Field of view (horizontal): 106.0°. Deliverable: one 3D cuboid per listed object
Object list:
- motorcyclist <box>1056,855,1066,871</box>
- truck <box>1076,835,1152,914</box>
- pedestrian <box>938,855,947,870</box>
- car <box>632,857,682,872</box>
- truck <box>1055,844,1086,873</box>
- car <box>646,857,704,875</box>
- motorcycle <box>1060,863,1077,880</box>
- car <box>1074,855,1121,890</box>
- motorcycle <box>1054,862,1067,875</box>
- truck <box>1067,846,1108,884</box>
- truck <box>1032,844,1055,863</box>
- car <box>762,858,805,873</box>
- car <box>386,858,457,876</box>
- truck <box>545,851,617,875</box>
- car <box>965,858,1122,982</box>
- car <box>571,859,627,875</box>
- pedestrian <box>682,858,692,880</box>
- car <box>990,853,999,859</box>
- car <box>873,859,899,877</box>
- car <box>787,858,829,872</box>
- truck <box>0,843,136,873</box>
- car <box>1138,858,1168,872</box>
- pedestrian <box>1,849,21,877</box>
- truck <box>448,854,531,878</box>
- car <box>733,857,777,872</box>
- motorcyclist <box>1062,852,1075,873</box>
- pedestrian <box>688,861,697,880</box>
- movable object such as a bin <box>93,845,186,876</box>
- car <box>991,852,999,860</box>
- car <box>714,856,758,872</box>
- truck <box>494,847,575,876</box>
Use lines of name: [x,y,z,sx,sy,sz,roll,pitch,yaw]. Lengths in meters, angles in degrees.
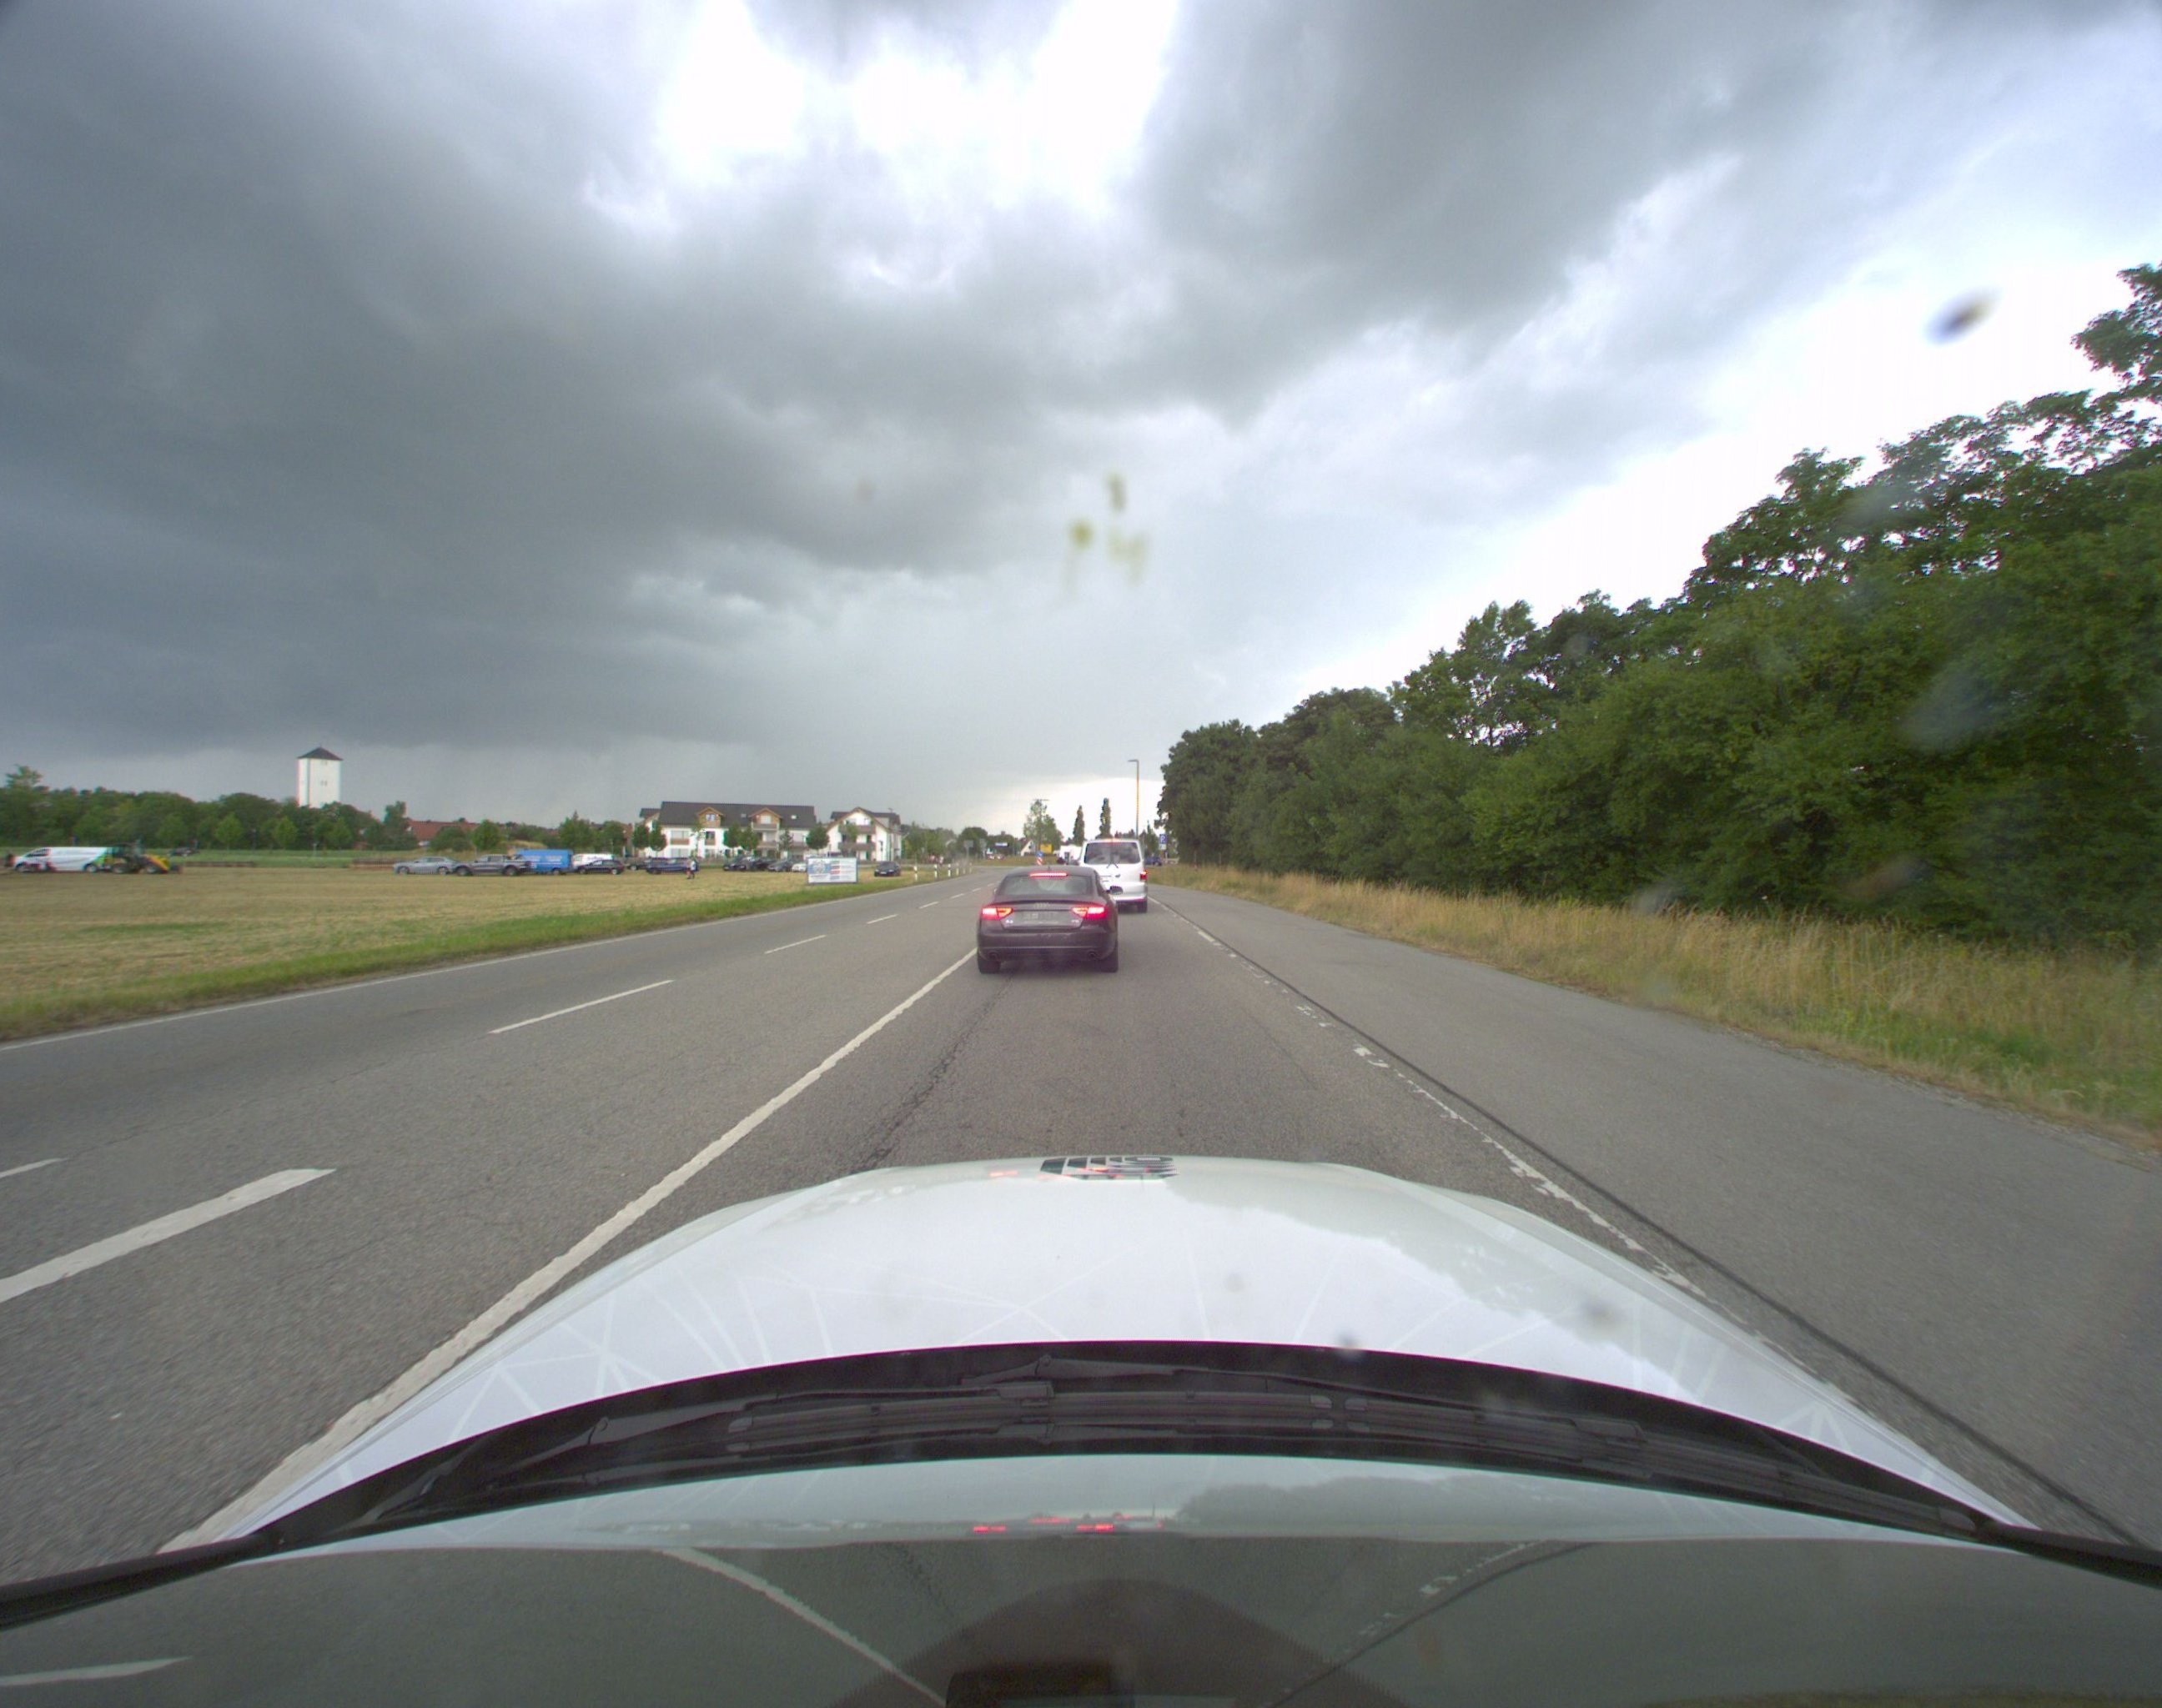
motorcyclist: [-1.685,0.753,68.672,0.782,1.356,0.854,0,0,2]
truck: [0.903,0.519,22.875,1.897,1.998,4.630,0,0,2]
pedestrian: [-15.132,0.934,88.982,0.694,1.586,0.662,0,-1,31]
car: [-47.029,1.133,90.437,4.639,1.697,1.987,0,0,-19]
truck: [-1.080,0.426,79.821,2.622,2.737,5.856,1,0,-5]
car: [-39.182,1.179,78.700,4.730,1.697,1.987,0,0,-19]
motorcycle: [-0.834,1.156,54.992,0.916,1.094,2.191,0,0,4]
car: [0.735,0.794,36.597,1.987,1.485,4.000,0,0,1]
motorcycle: [-1.693,1.211,68.612,0.940,1.019,2.285,0,0,2]
truck: [0.416,0.594,45.536,2.185,2.014,5.086,0,0,2]
truck: [-7.228,-0.149,156.539,3.574,3.578,9.930,1,0,-8]
car: [-31.344,1.176,85.806,1.977,1.536,4.232,0,0,20]
car: [-55.814,1.071,68.981,4.316,1.461,1.876,0,0,-25]
truck: [-48.598,0.875,79.306,5.586,2.196,2.588,0,0,-22]
car: [-0.367,0.800,11.775,1.868,1.454,4.179,0,0,2]
car: [-45.164,1.208,76.416,4.168,1.519,1.987,0,0,-19]
pedestrian: [-32.090,1.227,66.299,0.548,1.786,0.676,0,-1,-10]
car: [-23.519,0.444,221.164,1.989,1.642,3.996,1,0,-3]
car: [-17.314,1.223,72.457,1.993,1.442,3.987,0,0,-9]
car: [-28.600,1.155,85.352,1.977,1.446,4.232,0,0,20]
truck: [-75.836,0.301,60.940,6.075,2.217,2.697,0,0,-26]
car: [10.863,1.662,122.855,3.953,2.014,2.010,1,-1,21]
pedestrian: [-71.908,0.631,54.727,0.618,1.866,0.713,0,-1,42]
truck: [-48.946,0.949,67.569,5.252,1.920,2.095,0,0,-25]
car: [-34.482,1.097,86.310,1.977,1.629,4.232,0,0,20]
motorcyclist: [-0.829,0.590,54.958,0.769,1.383,0.821,0,0,3]
pedestrian: [-32.050,1.325,67.192,0.591,1.555,0.622,0,-1,-18]
movable object such as a bin: [-69.289,0.461,60.034,4.006,2.243,1.869,0,-1,-27]
car: [-22.381,0.592,212.083,1.991,2.014,3.992,1,0,-6]
car: [-37.504,1.079,88.662,1.977,1.629,4.232,0,0,20]
truck: [-48.092,0.641,71.853,5.469,2.446,2.377,0,0,-22]
